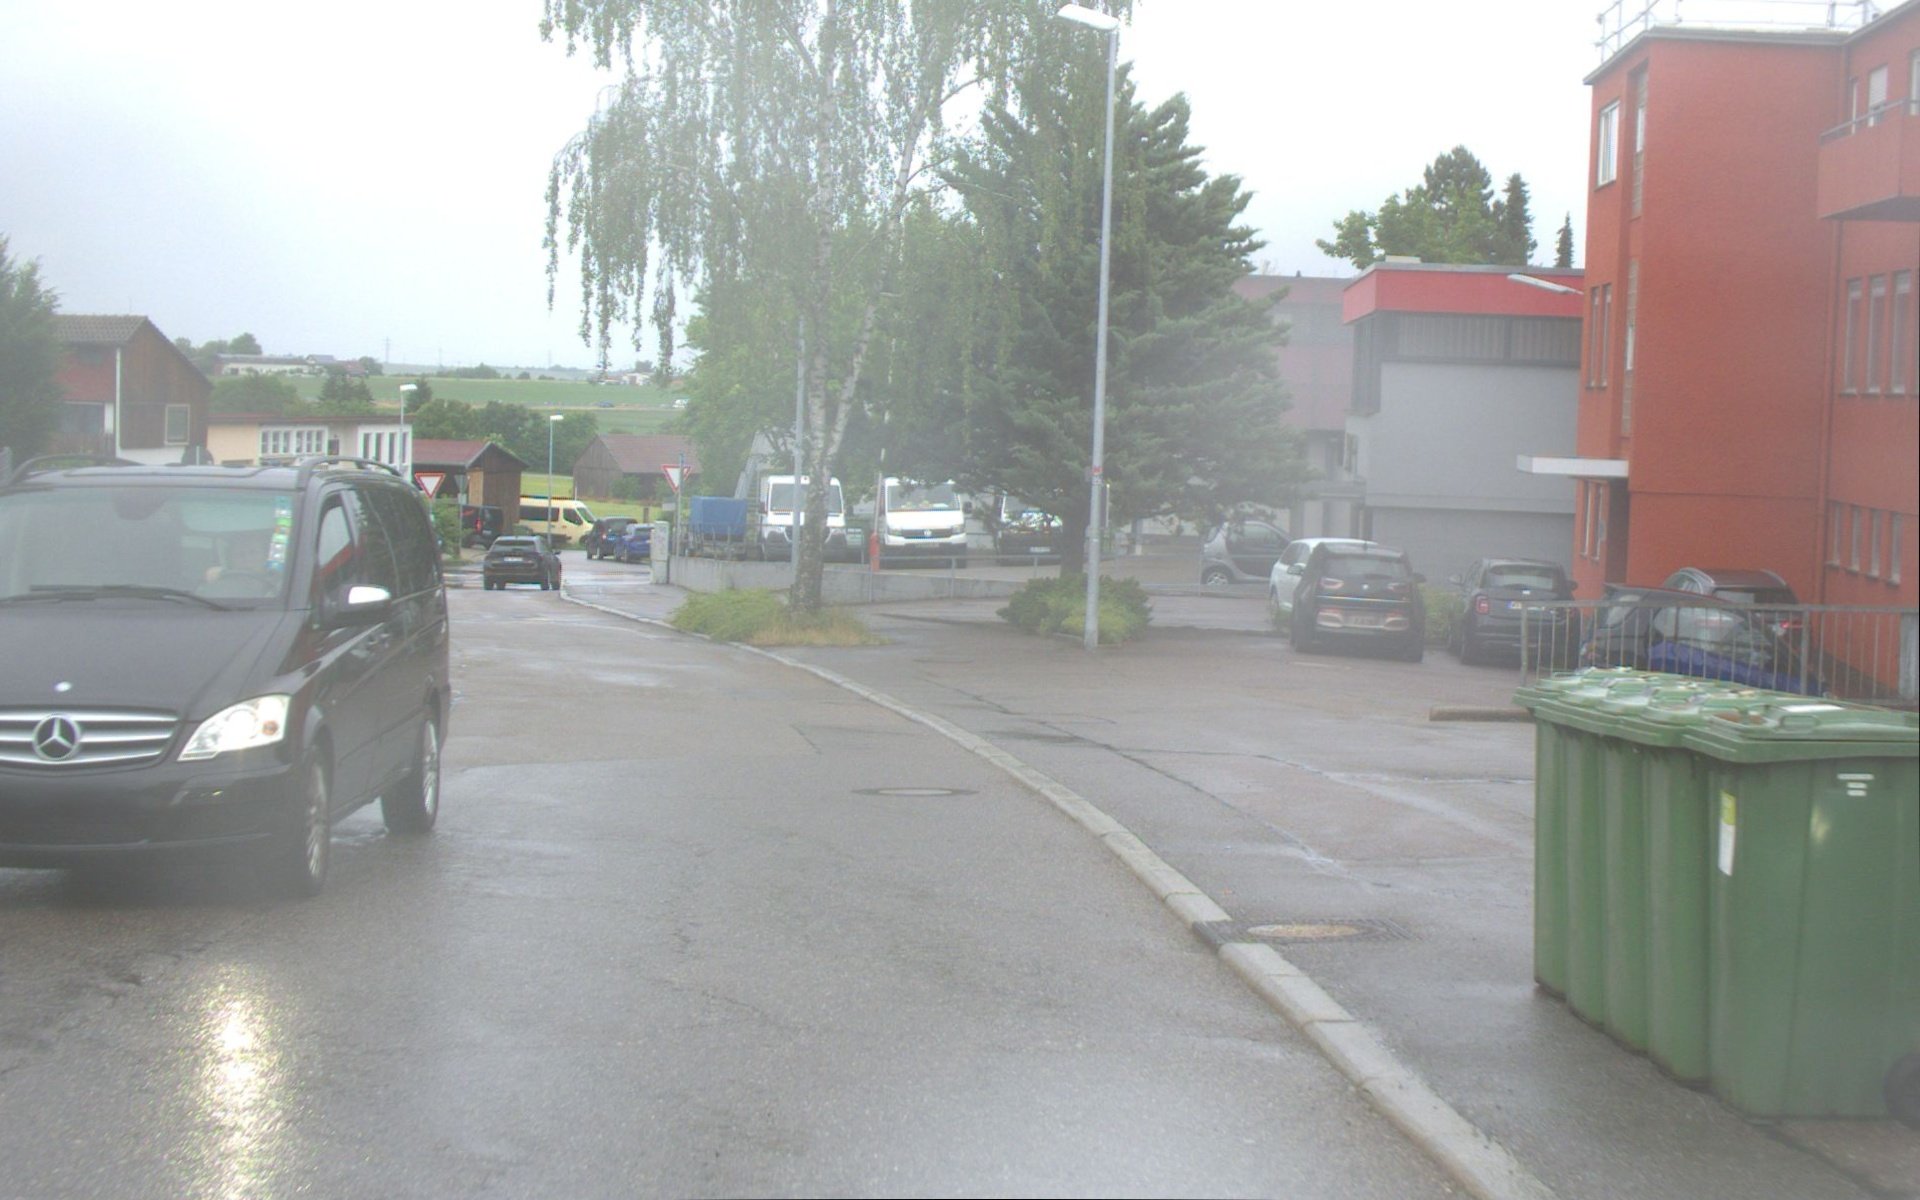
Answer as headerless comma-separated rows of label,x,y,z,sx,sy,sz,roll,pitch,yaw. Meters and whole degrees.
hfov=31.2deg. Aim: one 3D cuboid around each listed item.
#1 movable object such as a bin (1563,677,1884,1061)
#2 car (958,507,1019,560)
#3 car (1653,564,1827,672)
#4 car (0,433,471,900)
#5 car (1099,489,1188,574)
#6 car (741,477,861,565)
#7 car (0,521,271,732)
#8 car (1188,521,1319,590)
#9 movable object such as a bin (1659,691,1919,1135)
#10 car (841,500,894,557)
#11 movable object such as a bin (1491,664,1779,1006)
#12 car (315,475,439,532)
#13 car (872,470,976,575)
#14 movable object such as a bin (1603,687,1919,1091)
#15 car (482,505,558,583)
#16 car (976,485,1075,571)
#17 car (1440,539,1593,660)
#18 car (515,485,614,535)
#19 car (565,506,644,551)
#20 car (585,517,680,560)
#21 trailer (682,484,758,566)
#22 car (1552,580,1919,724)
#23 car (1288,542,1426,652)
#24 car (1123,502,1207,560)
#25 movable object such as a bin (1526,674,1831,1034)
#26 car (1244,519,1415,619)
movable object such as a bin,2.276,0.792,10.304,0.809,1.087,0.541,1,1,-1
car,0.747,-1.760,91.291,1.398,1.321,2.701,2,0,-3
car,11.024,0.252,48.825,1.729,1.417,3.999,2,0,3
car,-3.589,0.225,16.388,1.885,1.880,5.072,0,1,-1
car,4.566,-1.683,85.803,1.781,2.007,3.633,2,0,-3
car,-3.943,-1.913,84.542,2.264,2.007,4.001,2,0,-12
car,-6.437,0.190,26.967,1.769,1.507,4.146,1,0,-8
car,6.094,-0.935,71.496,2.547,1.347,1.242,2,1,-1
movable object such as a bin,2.339,0.807,9.075,0.806,1.089,0.709,1,1,-1
car,-2.454,-1.877,90.491,1.290,1.419,2.546,2,0,-3
movable object such as a bin,2.239,0.770,11.470,0.802,1.075,0.624,1,1,-1
car,-20.919,-3.455,123.441,3.987,1.875,2.000,2,1,4
car,-0.914,-1.881,84.787,2.192,2.451,4.001,2,0,-5
movable object such as a bin,2.278,0.802,9.728,0.775,1.072,0.583,1,1,-1
car,-12.019,-1.501,94.023,1.869,2.022,4.001,2,0,-5
car,1.601,-1.763,85.583,2.145,2.007,3.940,2,0,-3
car,8.030,-0.002,49.922,1.739,1.648,3.999,2,0,3
car,-18.975,-4.321,165.033,4.242,2.218,1.999,2,0,10
car,-14.108,-2.826,136.271,1.993,1.698,4.001,2,0,-23
car,-12.456,-2.307,130.597,2.460,1.534,4.001,2,0,-23
trailer,-6.204,-1.933,88.700,1.852,2.007,4.001,2,1,-4
car,7.215,0.459,31.409,3.401,1.159,1.791,2,1,5
car,5.658,-0.039,49.373,1.697,1.470,3.999,2,0,3
car,5.452,-1.819,91.600,1.636,1.448,3.512,2,0,-6
movable object such as a bin,2.259,0.788,10.865,0.809,1.073,0.581,1,1,-1
car,6.061,-0.498,56.839,2.065,1.547,4.001,2,0,-4
